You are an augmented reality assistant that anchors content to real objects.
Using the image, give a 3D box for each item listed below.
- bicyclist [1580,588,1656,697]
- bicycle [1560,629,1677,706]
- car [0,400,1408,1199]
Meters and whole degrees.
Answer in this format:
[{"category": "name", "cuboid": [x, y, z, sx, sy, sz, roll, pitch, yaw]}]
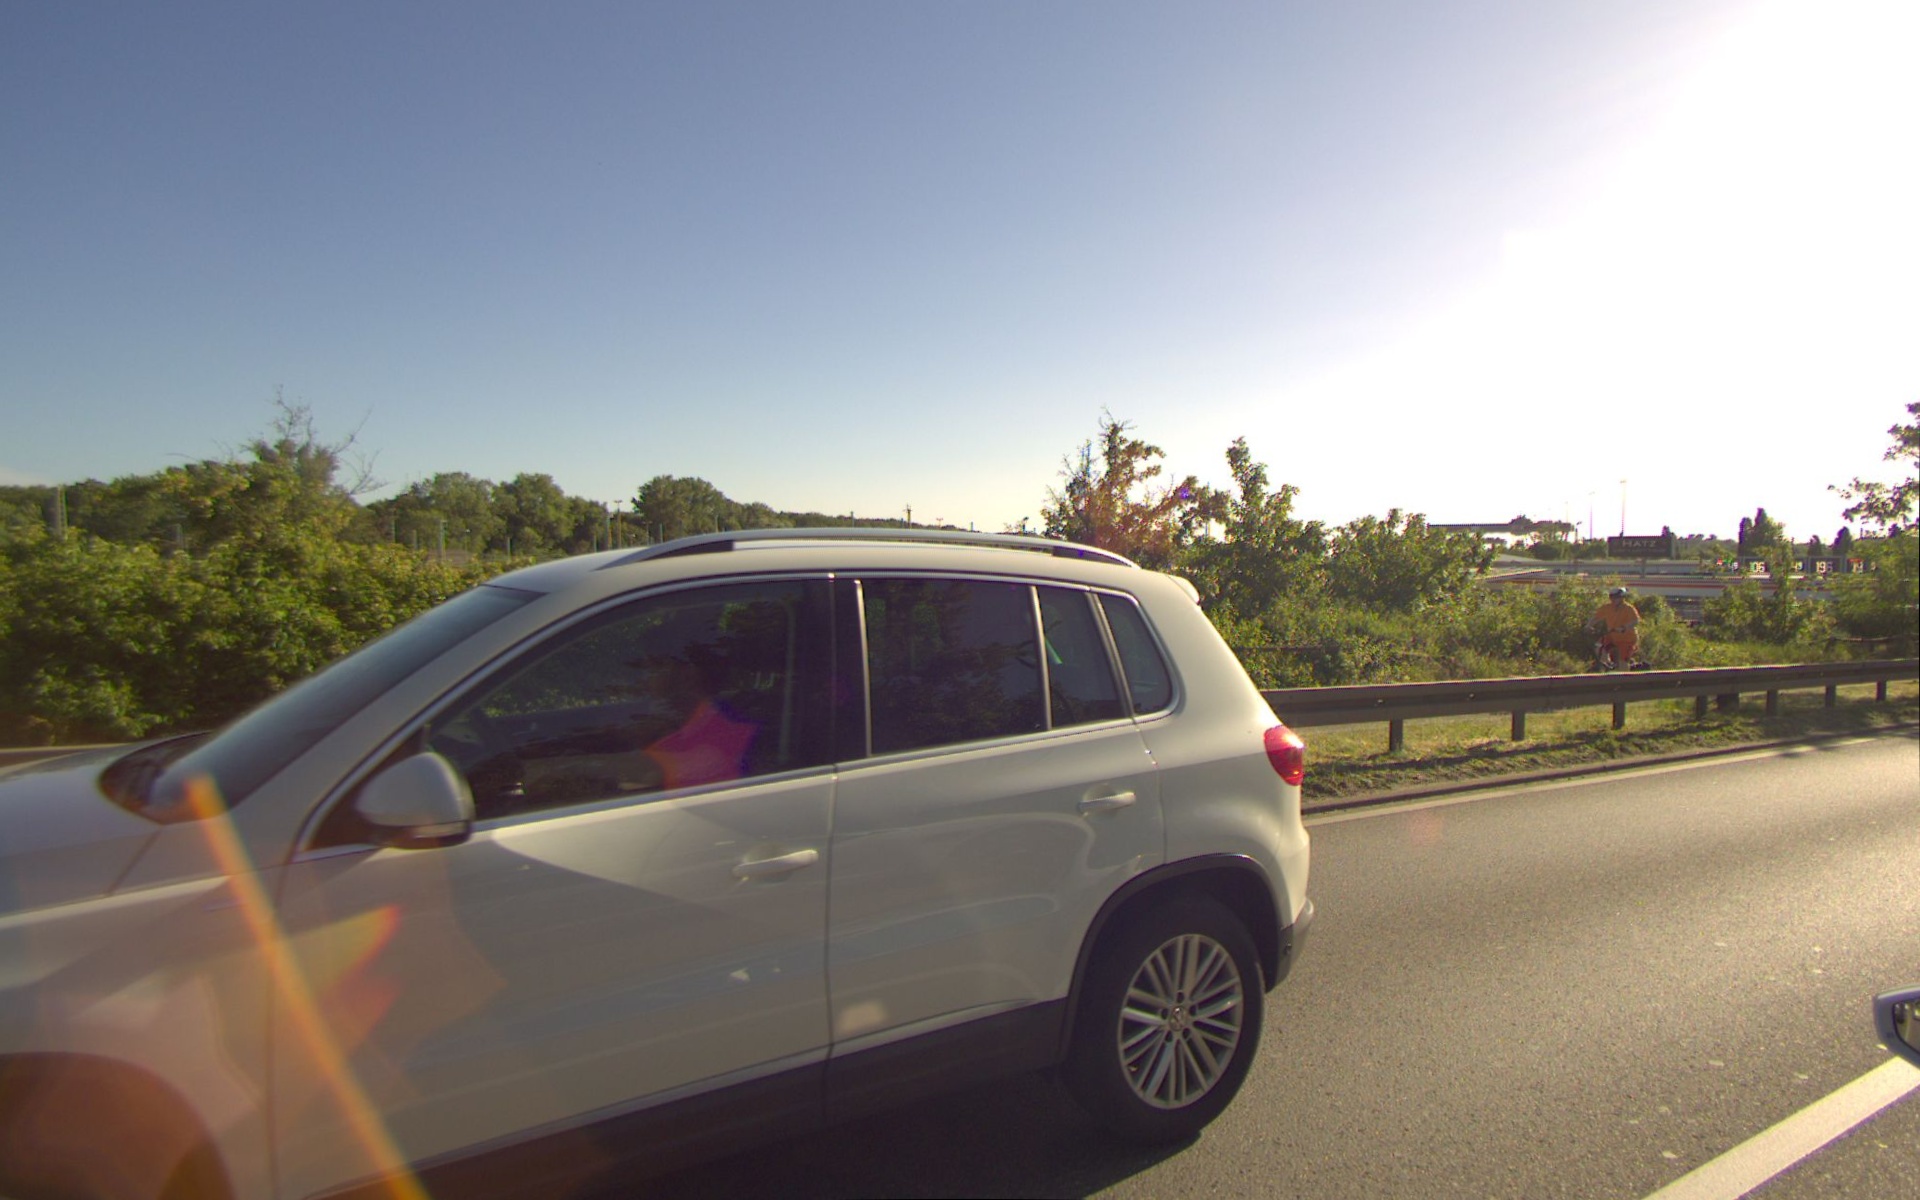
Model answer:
[{"category": "bicyclist", "cuboid": [10.234, 0.642, 15.617, 0.864, 1.645, 0.648, 1, 1, -30]}, {"category": "bicycle", "cuboid": [10.277, 1.022, 15.650, 2.083, 1.110, 0.657, 1, 1, -30]}, {"category": "car", "cuboid": [-0.722, 0.556, 2.891, 3.936, 1.680, 1.720, 1, 1, -31]}]
